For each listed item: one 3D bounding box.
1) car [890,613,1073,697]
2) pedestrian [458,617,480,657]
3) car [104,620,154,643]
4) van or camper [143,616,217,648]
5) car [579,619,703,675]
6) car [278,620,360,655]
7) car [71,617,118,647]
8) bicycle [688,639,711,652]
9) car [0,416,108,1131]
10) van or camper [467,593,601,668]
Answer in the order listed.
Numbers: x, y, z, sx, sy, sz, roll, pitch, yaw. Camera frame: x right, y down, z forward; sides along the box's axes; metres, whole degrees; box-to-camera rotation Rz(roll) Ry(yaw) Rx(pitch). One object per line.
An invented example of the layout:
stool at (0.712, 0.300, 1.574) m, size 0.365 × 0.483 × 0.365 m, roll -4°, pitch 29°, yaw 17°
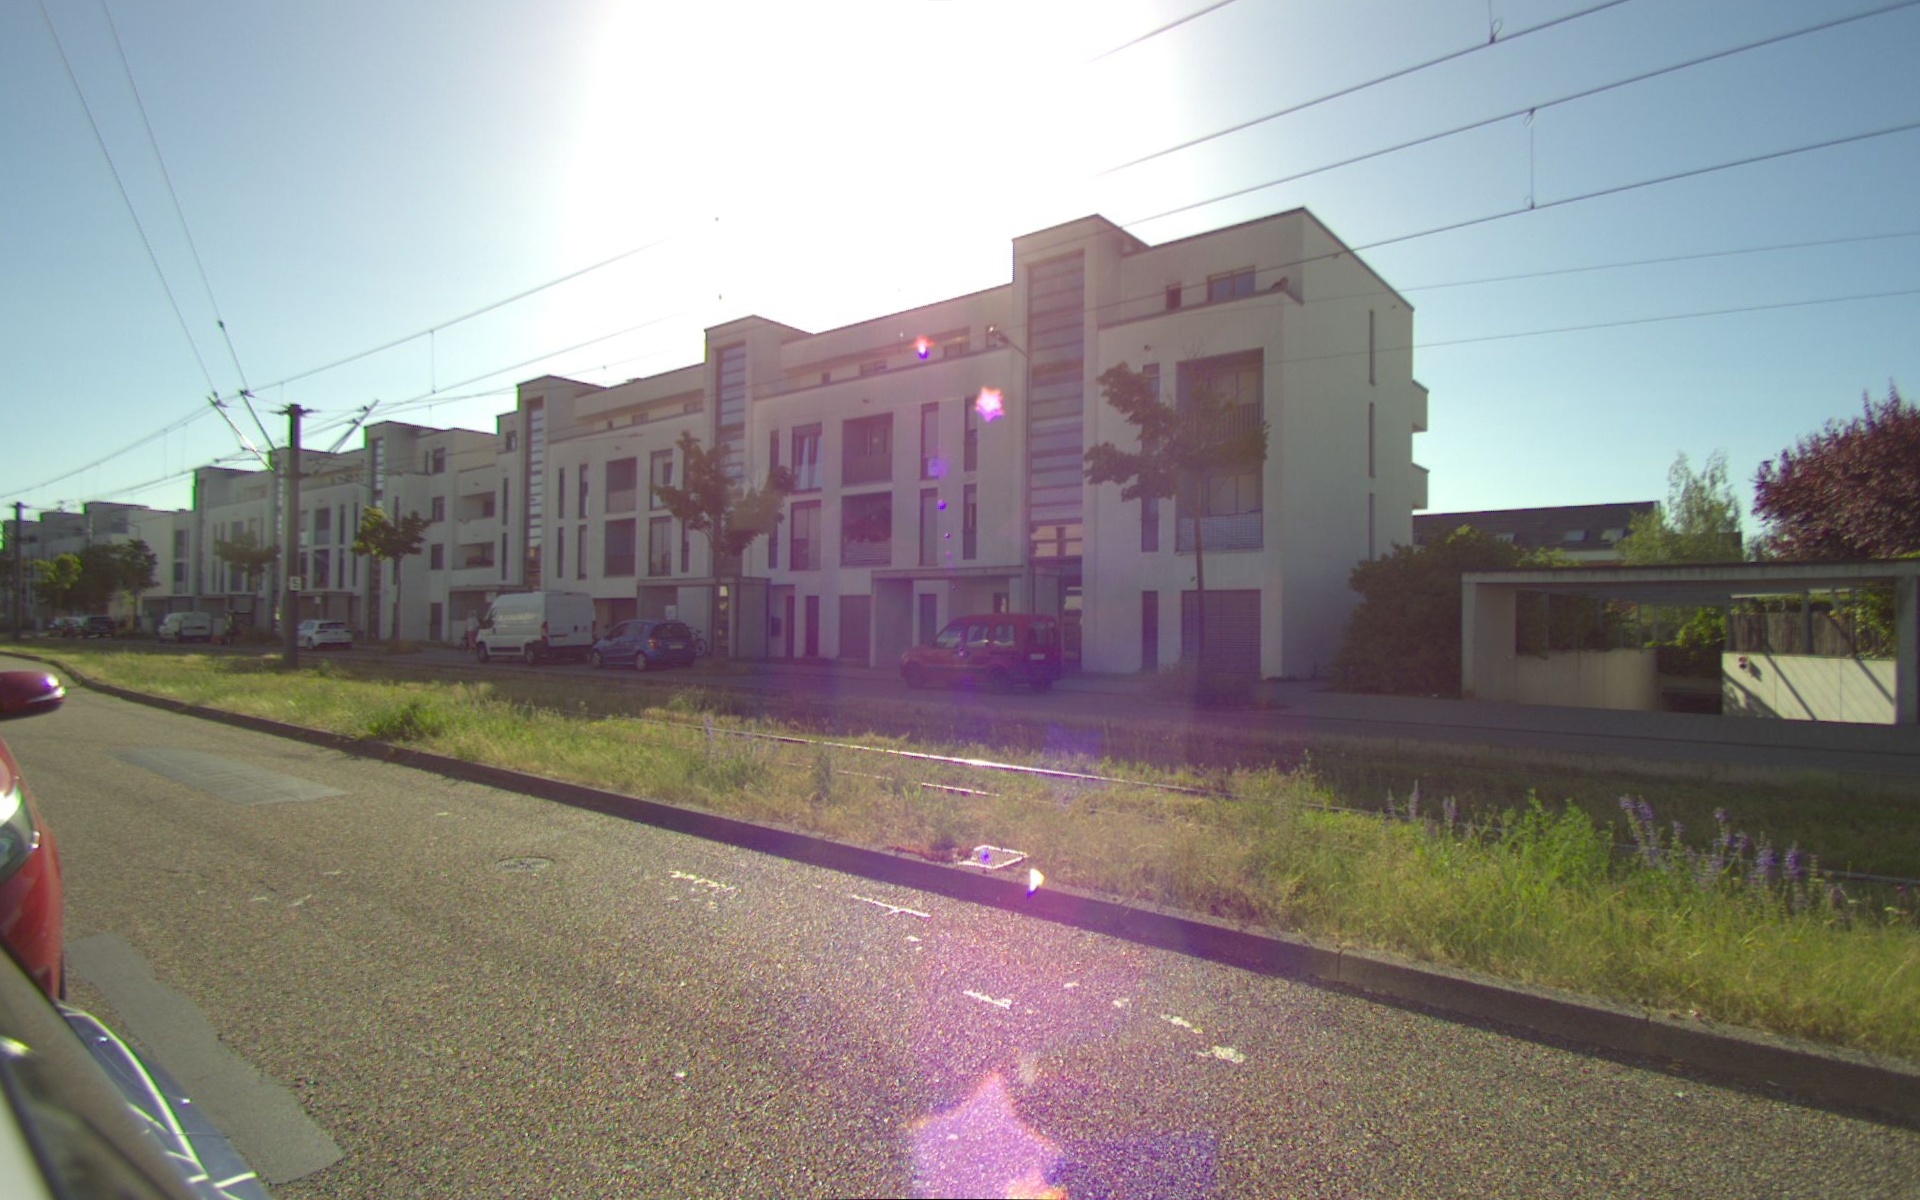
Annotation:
car at (0.433, 1.198, 22.916) m, size 3.907 × 1.736 × 1.770 m, roll -1°, pitch -3°, yaw 42°
pedestrian at (-20.695, 1.540, 42.669) m, size 0.611 × 1.656 × 0.612 m, roll -1°, pitch 0°, yaw 33°
car at (-56.823, 2.171, 69.185) m, size 3.491 × 1.449 × 1.845 m, roll -2°, pitch -1°, yaw 37°
van or camper at (-47.961, 1.908, 62.206) m, size 6.279 × 1.862 × 2.244 m, roll -1°, pitch -1°, yaw 39°
car at (-9.985, 1.438, 31.567) m, size 3.833 × 1.625 × 1.910 m, roll -1°, pitch -3°, yaw 40°
car at (-31.034, 1.807, 48.965) m, size 4.115 × 1.598 × 2.022 m, roll -1°, pitch -2°, yaw 38°
car at (-62.857, 2.289, 73.462) m, size 3.993 × 2.029 × 1.766 m, roll -1°, pitch 0°, yaw 37°
bicycle at (-10.500, 1.824, 40.753) m, size 1.060 × 0.502 × 0.349 m, roll -1°, pitch -3°, yaw 40°
car at (-5.111, 0.527, 3.867) m, size 5.081 × 1.984 × 2.100 m, roll -1°, pitch 0°, yaw 41°
van or camper at (-15.168, 1.066, 35.904) m, size 5.256 × 2.484 × 2.170 m, roll -1°, pitch -2°, yaw 40°
